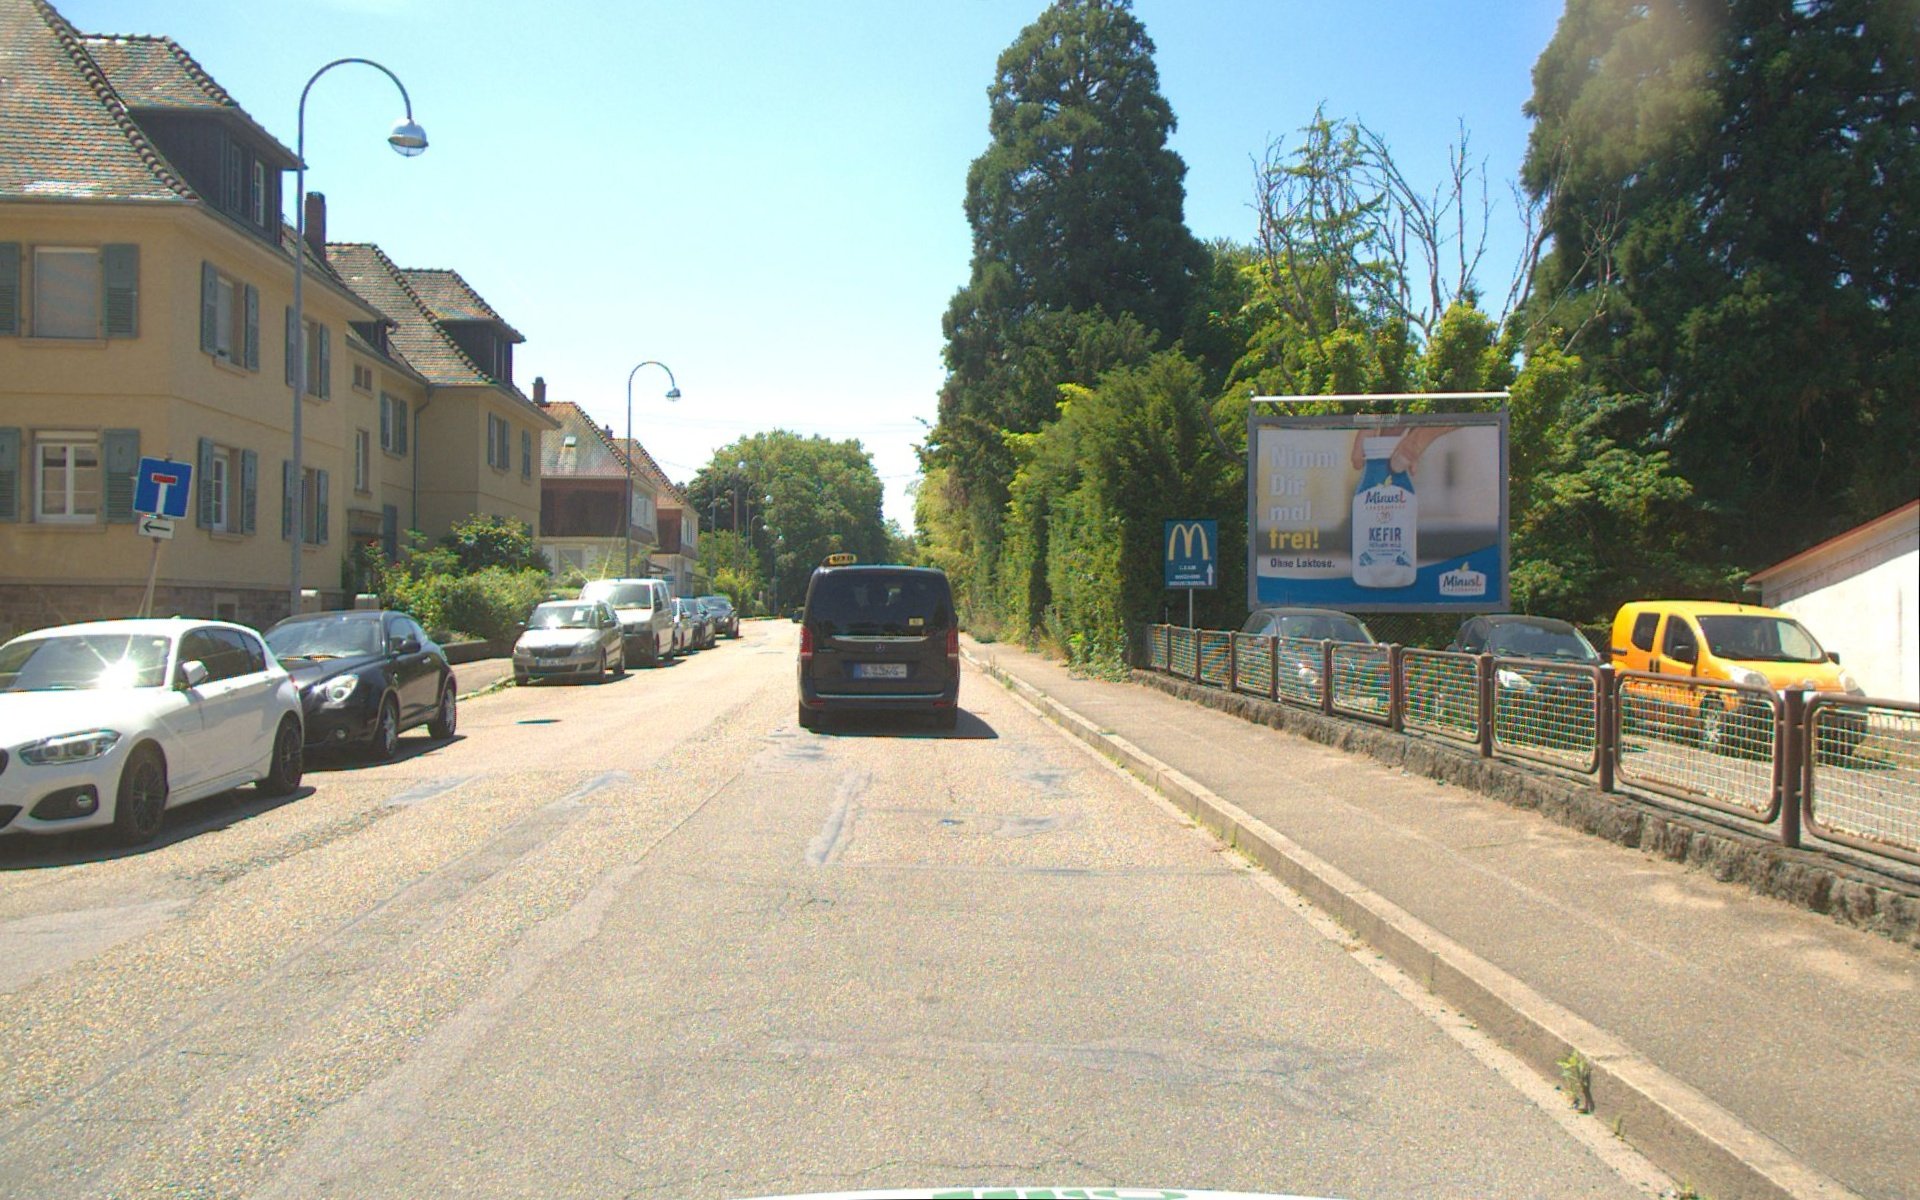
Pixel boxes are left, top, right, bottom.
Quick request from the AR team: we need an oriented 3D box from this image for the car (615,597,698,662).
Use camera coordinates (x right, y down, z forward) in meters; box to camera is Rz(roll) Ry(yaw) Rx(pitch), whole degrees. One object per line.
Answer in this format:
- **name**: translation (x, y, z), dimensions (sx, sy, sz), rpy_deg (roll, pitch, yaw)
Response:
- **car**: translation (-7.835, 0.737, 42.988), dimensions (1.633, 1.518, 3.476), rpy_deg (-3, 0, -3)

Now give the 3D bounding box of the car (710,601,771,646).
- **car**: translation (-7.543, 0.779, 57.097), dimensions (1.632, 1.410, 4.378), rpy_deg (-2, 0, -2)

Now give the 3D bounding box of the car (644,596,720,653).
- **car**: translation (-7.890, 0.664, 47.188), dimensions (1.633, 1.519, 4.463), rpy_deg (0, 0, -3)

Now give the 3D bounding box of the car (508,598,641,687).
- **car**: translation (-7.215, 0.757, 31.326), dimensions (1.652, 1.552, 4.061), rpy_deg (0, 0, -1)

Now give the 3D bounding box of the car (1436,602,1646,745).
- **car**: translation (7.284, 0.872, 21.049), dimensions (1.597, 1.570, 3.394), rpy_deg (4, 0, 4)

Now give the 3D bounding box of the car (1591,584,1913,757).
- **car**: translation (9.661, 0.797, 20.588), dimensions (1.740, 1.831, 4.163), rpy_deg (4, 0, -3)

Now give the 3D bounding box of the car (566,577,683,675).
- **car**: translation (-7.517, 0.525, 37.452), dimensions (1.841, 1.997, 4.623), rpy_deg (-2, 0, -3)

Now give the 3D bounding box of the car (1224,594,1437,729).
- **car**: translation (4.609, 0.719, 21.068), dimensions (1.600, 1.484, 3.553), rpy_deg (4, 0, -5)

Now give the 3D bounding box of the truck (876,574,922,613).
- **truck**: translation (-3.741, -0.362, 100.222), dimensions (2.311, 2.298, 6.083), rpy_deg (0, 0, -7)

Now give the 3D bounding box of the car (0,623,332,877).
- **car**: translation (-6.054, 0.929, 11.783), dimensions (1.759, 1.426, 4.215), rpy_deg (-2, 0, -4)

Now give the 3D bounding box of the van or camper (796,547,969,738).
- **van or camper**: translation (-0.969, 0.467, 20.672), dimensions (1.865, 2.049, 5.267), rpy_deg (1, 0, -3)

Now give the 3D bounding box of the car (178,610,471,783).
- **car**: translation (-6.385, 0.886, 17.108), dimensions (1.682, 1.511, 4.073), rpy_deg (-2, 0, -4)
